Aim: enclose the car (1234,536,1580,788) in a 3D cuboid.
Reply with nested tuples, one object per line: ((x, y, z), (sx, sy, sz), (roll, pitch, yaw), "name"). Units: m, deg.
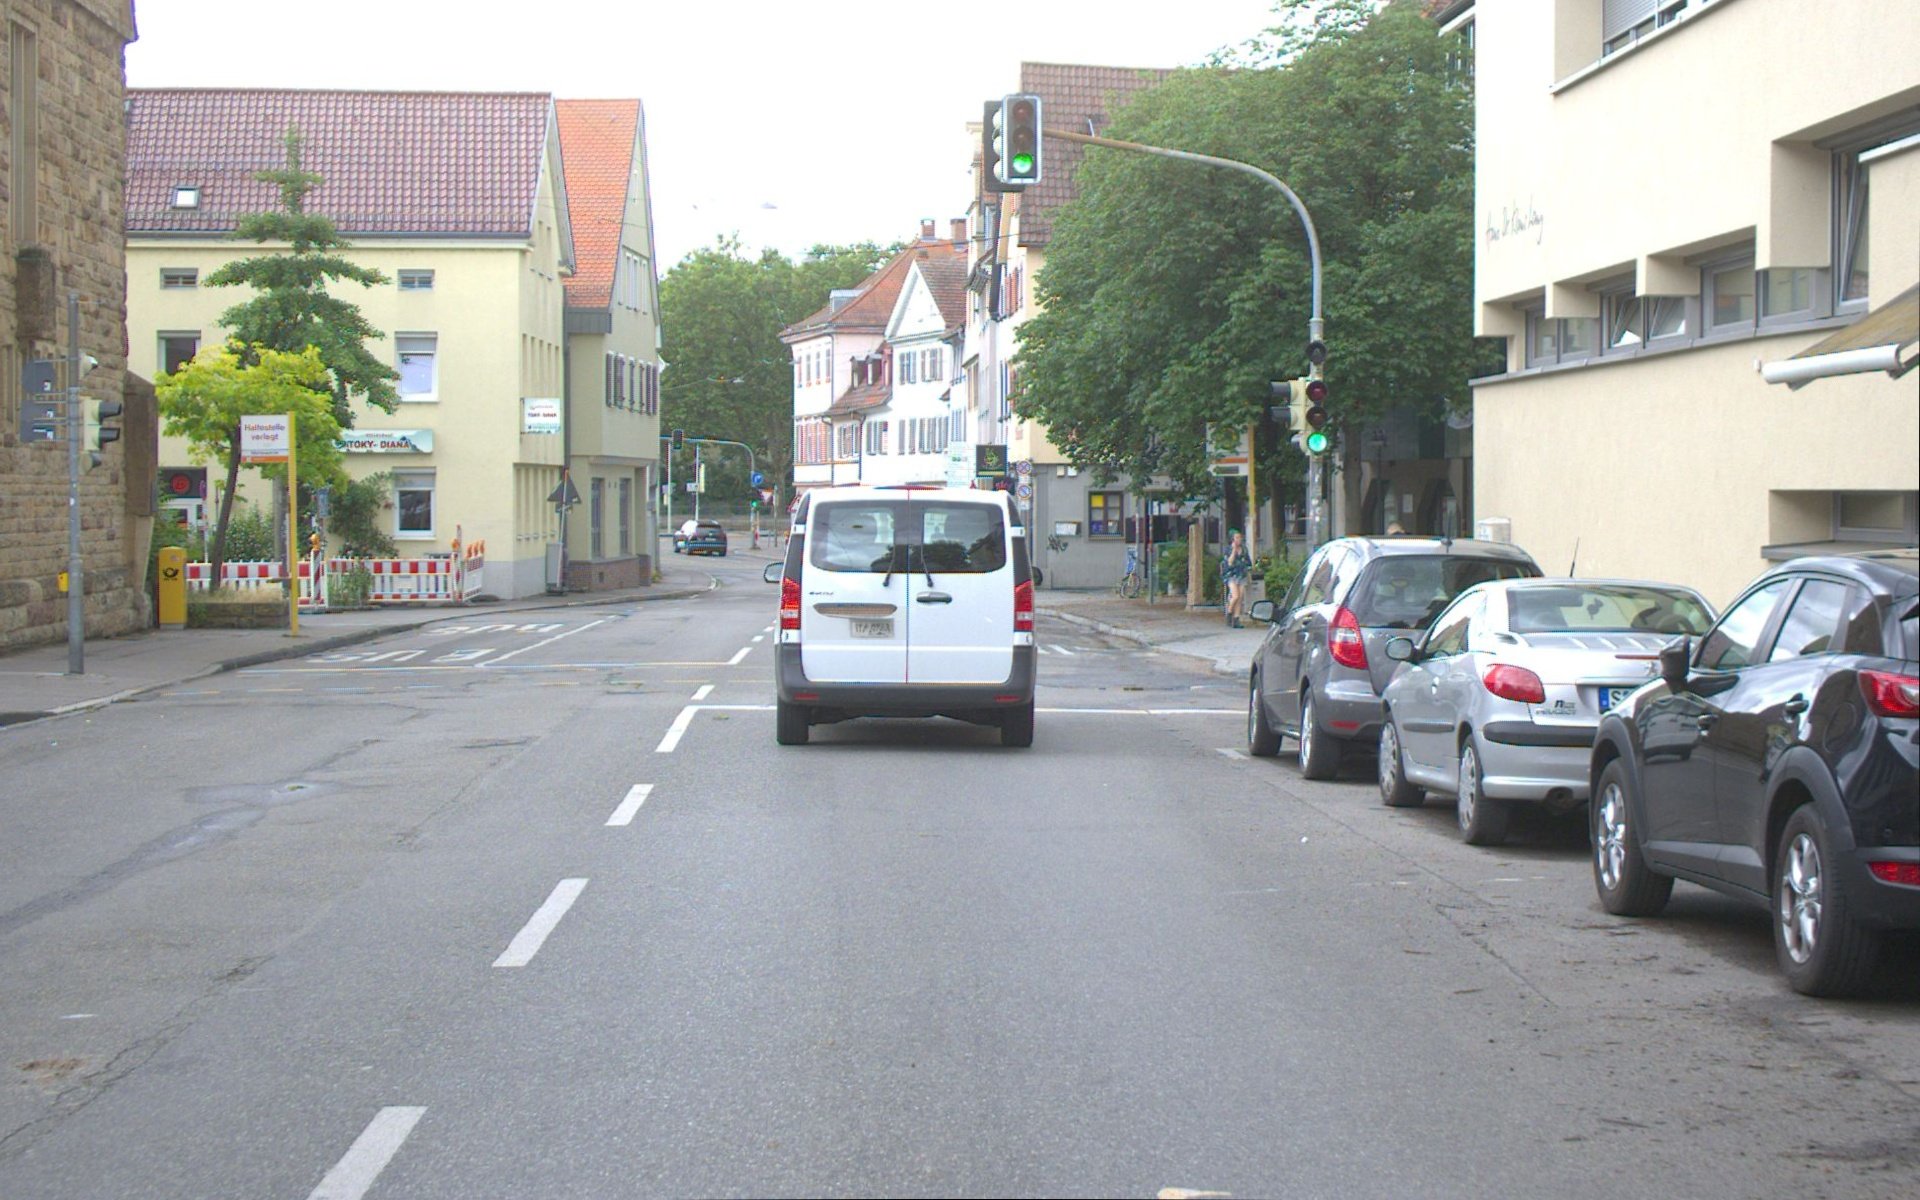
((2.947, 0.354, 23.398), (1.711, 1.555, 3.786), (1, 1, -2), "car")

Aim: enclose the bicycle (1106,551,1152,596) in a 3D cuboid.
((4.166, -0.662, 84.784), (0.499, 1.102, 1.639), (-1, 1, -22), "bicycle")

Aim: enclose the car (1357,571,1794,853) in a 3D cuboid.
((3.235, 0.535, 18.737), (1.551, 1.328, 3.813), (1, 1, -2), "car")

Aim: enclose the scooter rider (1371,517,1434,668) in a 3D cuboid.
((4.845, -0.077, 37.653), (0.452, 1.626, 0.505), (-2, 0, -15), "scooter rider")

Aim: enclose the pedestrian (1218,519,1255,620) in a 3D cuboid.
((4.729, -0.532, 58.702), (0.602, 1.710, 0.859), (0, 1, 6), "pedestrian")

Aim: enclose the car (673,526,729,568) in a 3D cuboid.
((-12.919, -2.647, 171.139), (1.934, 2.007, 4.001), (1, 1, -17), "car")

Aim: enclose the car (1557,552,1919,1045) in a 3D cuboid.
((3.490, 0.595, 12.934), (1.601, 1.513, 4.209), (-1, 1, -2), "car")

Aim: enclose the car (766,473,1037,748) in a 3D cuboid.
((-0.420, 0.053, 25.963), (1.872, 1.905, 4.000), (0, 1, 0), "car")
